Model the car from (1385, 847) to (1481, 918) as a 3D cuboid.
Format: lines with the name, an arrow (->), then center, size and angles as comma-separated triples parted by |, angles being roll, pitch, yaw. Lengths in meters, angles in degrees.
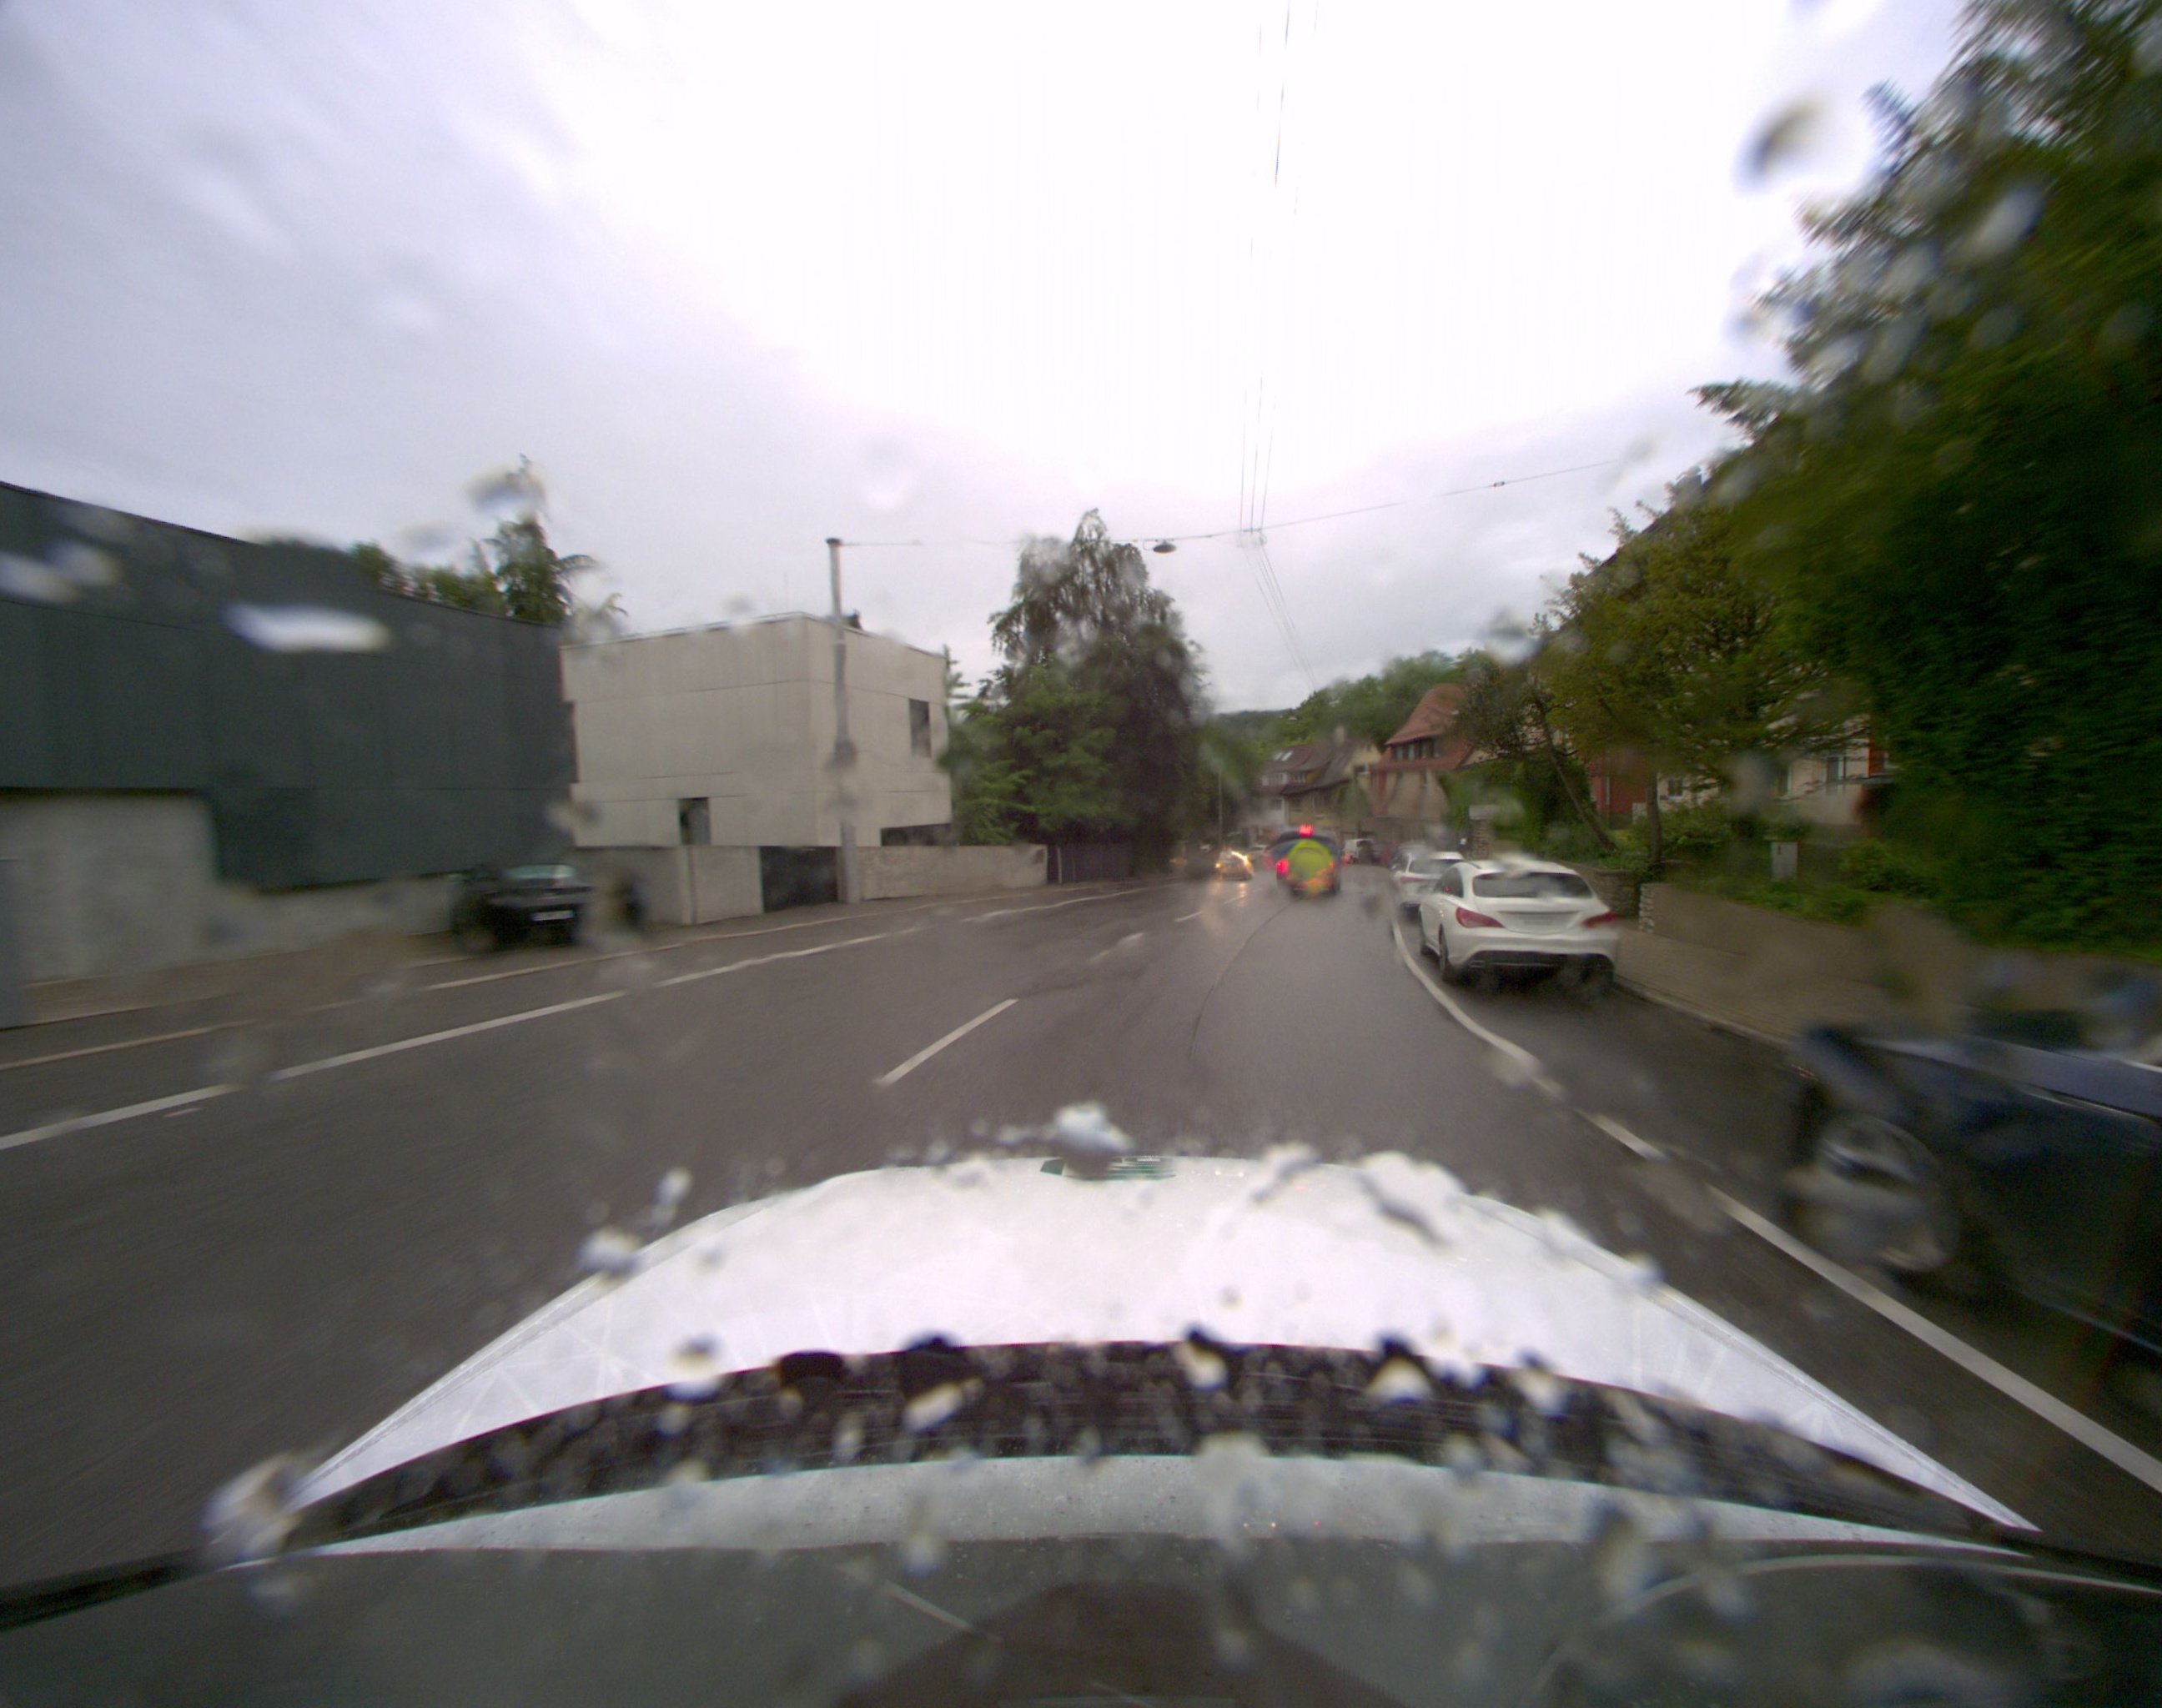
car -> 8.371, 0.607, 19.690 | 1.792, 1.455, 4.275 | -2, 1, 19

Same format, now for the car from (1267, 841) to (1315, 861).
car -> 18.693, -0.215, 72.761 | 1.921, 1.538, 4.384 | -6, 1, -20

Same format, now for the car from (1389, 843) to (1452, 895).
car -> 10.842, 0.437, 25.905 | 1.674, 1.455, 4.278 | -2, 1, 24

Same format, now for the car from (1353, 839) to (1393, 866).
car -> 20.474, -0.127, 57.229 | 1.606, 1.604, 4.421 | -5, 1, 8

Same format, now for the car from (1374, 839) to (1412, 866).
car -> 19.956, -0.108, 52.179 | 1.604, 1.435, 3.593 | -5, 1, 12

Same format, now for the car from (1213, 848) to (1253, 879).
car -> 7.722, 0.459, 41.185 | 1.637, 1.420, 3.819 | 1, 1, 16

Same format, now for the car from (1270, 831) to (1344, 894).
car -> 7.758, 0.282, 27.609 | 1.977, 1.893, 4.593 | -3, -1, 20

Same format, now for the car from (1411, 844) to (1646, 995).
car -> 5.452, 0.672, 10.565 | 1.765, 1.435, 4.590 | -4, 0, 18

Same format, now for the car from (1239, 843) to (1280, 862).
car -> 16.858, -0.148, 77.053 | 1.775, 1.515, 3.789 | -6, 1, -27

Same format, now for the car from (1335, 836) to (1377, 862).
car -> 20.986, -0.410, 62.335 | 1.699, 1.790, 4.327 | -5, 1, 1

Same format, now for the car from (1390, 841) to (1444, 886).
car -> 13.136, 0.319, 32.024 | 1.719, 1.593, 4.275 | -2, 1, 19

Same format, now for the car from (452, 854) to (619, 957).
car -> -8.693, 0.698, 12.919 | 1.906, 1.301, 3.956 | -2, 1, -36

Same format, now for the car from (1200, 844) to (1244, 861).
car -> 14.050, -0.133, 81.371 | 1.795, 1.367, 4.147 | -6, 1, -39

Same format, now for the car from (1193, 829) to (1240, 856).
car -> 14.586, -1.299, 87.813 | 4.400, 1.841, 1.993 | -14, 5, -10

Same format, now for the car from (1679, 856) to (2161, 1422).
car -> 3.641, 0.757, 1.562 | 1.799, 1.348, 4.625 | -4, 0, 4

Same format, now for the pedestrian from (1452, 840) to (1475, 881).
pedestrian -> 15.701, 0.260, 33.410 | 0.619, 1.650, 0.613 | -1, 0, -8
